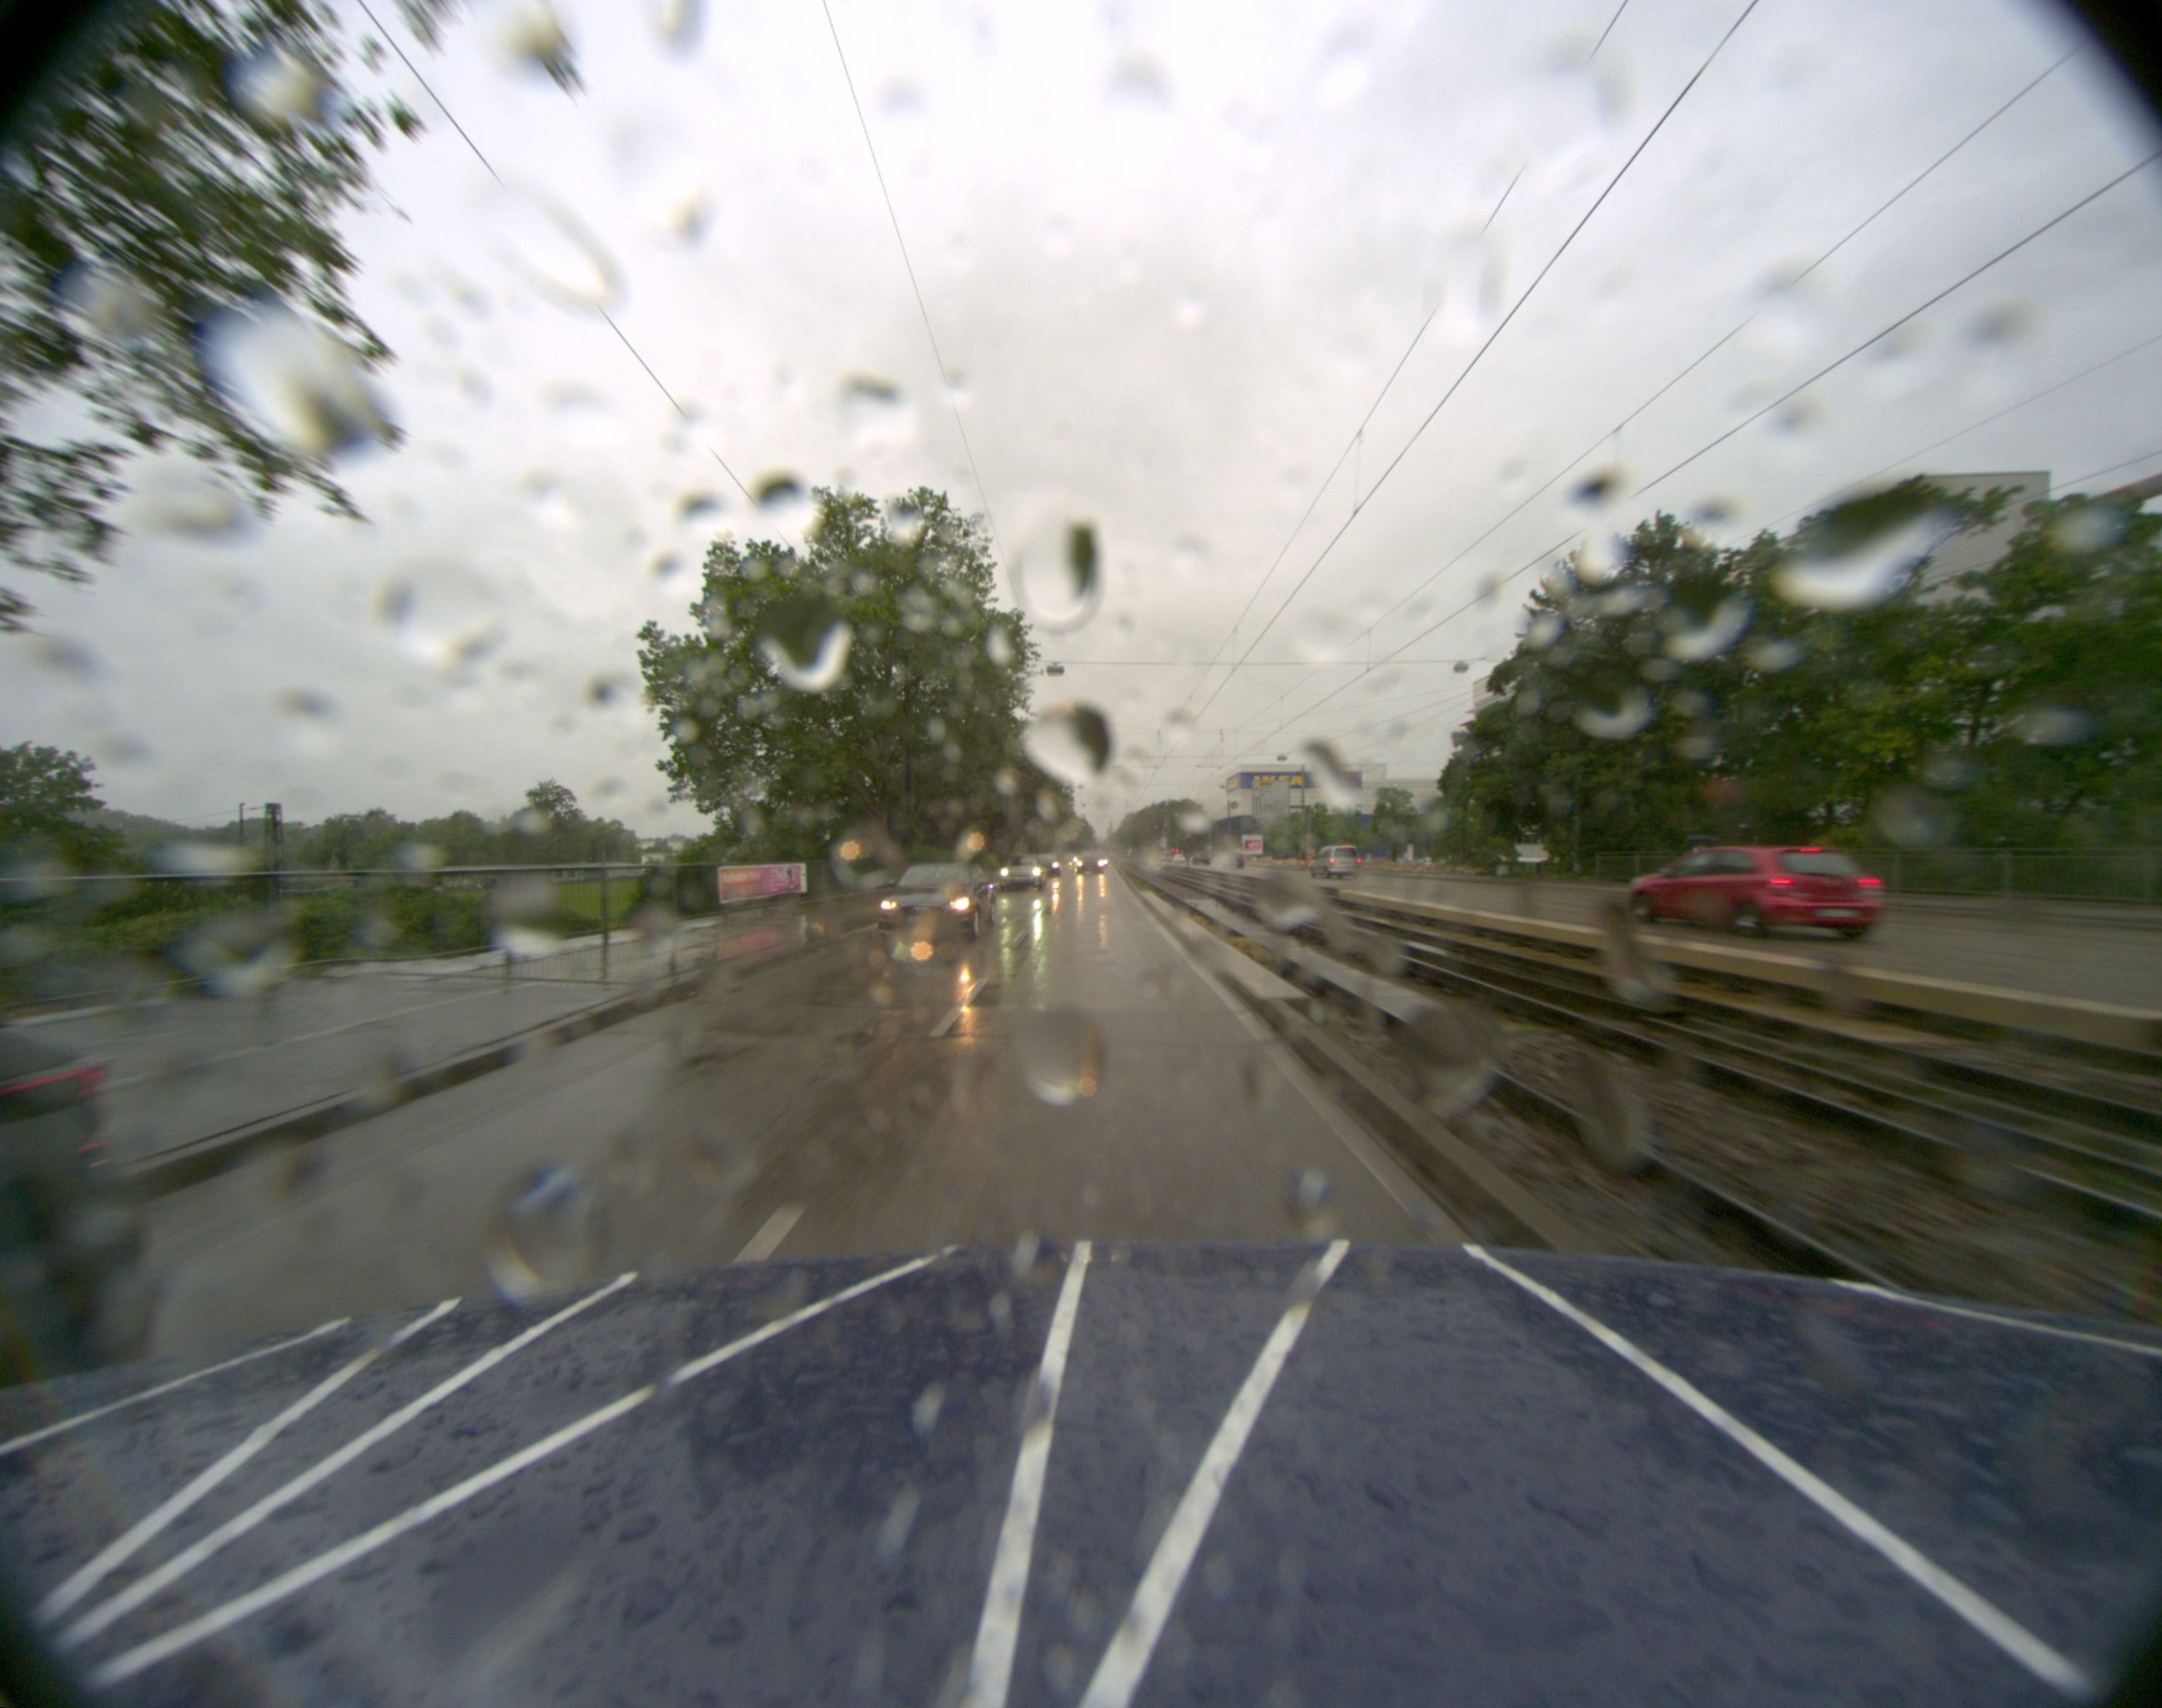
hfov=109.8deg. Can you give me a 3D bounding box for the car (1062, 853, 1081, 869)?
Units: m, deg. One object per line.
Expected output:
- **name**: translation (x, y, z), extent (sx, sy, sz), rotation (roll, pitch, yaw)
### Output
- **car**: translation (-1.004, 0.709, 79.272), extent (1.846, 1.572, 3.837), rotation (-2, 1, -1)

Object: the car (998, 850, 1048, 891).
- **car**: translation (-2.330, 0.627, 31.549), extent (1.807, 1.521, 3.644), rotation (-2, 1, -1)

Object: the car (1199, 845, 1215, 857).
- **car**: translation (16.200, -0.361, 97.895), extent (1.648, 1.536, 4.000), rotation (0, 1, 3)

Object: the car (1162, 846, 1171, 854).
- **car**: translation (17.062, -0.745, 150.994), extent (1.570, 1.525, 4.000), rotation (0, 1, 3)

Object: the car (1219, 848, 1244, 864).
- **car**: translation (15.009, 0.197, 75.819), extent (1.708, 1.536, 3.999), rotation (0, 1, 1)

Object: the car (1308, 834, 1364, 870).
- **car**: translation (14.210, -0.134, 42.568), extent (1.845, 1.898, 3.999), rotation (0, 1, 1)

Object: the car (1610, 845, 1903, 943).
- **car**: translation (11.382, 0.574, 13.243), extent (1.707, 1.445, 4.001), rotation (0, 1, 4)

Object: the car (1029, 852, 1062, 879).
- **car**: translation (-2.184, 0.696, 47.479), extent (1.784, 1.500, 3.999), rotation (-1, 1, 1)

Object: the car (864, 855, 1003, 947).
- **car**: translation (-2.637, 0.783, 14.510), extent (1.784, 1.419, 3.999), rotation (-1, 1, 1)

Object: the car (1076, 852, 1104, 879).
- **car**: translation (0.606, 0.752, 52.052), extent (1.816, 1.692, 3.999), rotation (-1, 1, 1)

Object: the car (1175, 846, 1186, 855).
- **car**: translation (16.594, -0.619, 126.805), extent (1.570, 1.536, 4.001), rotation (-2, 1, 4)
